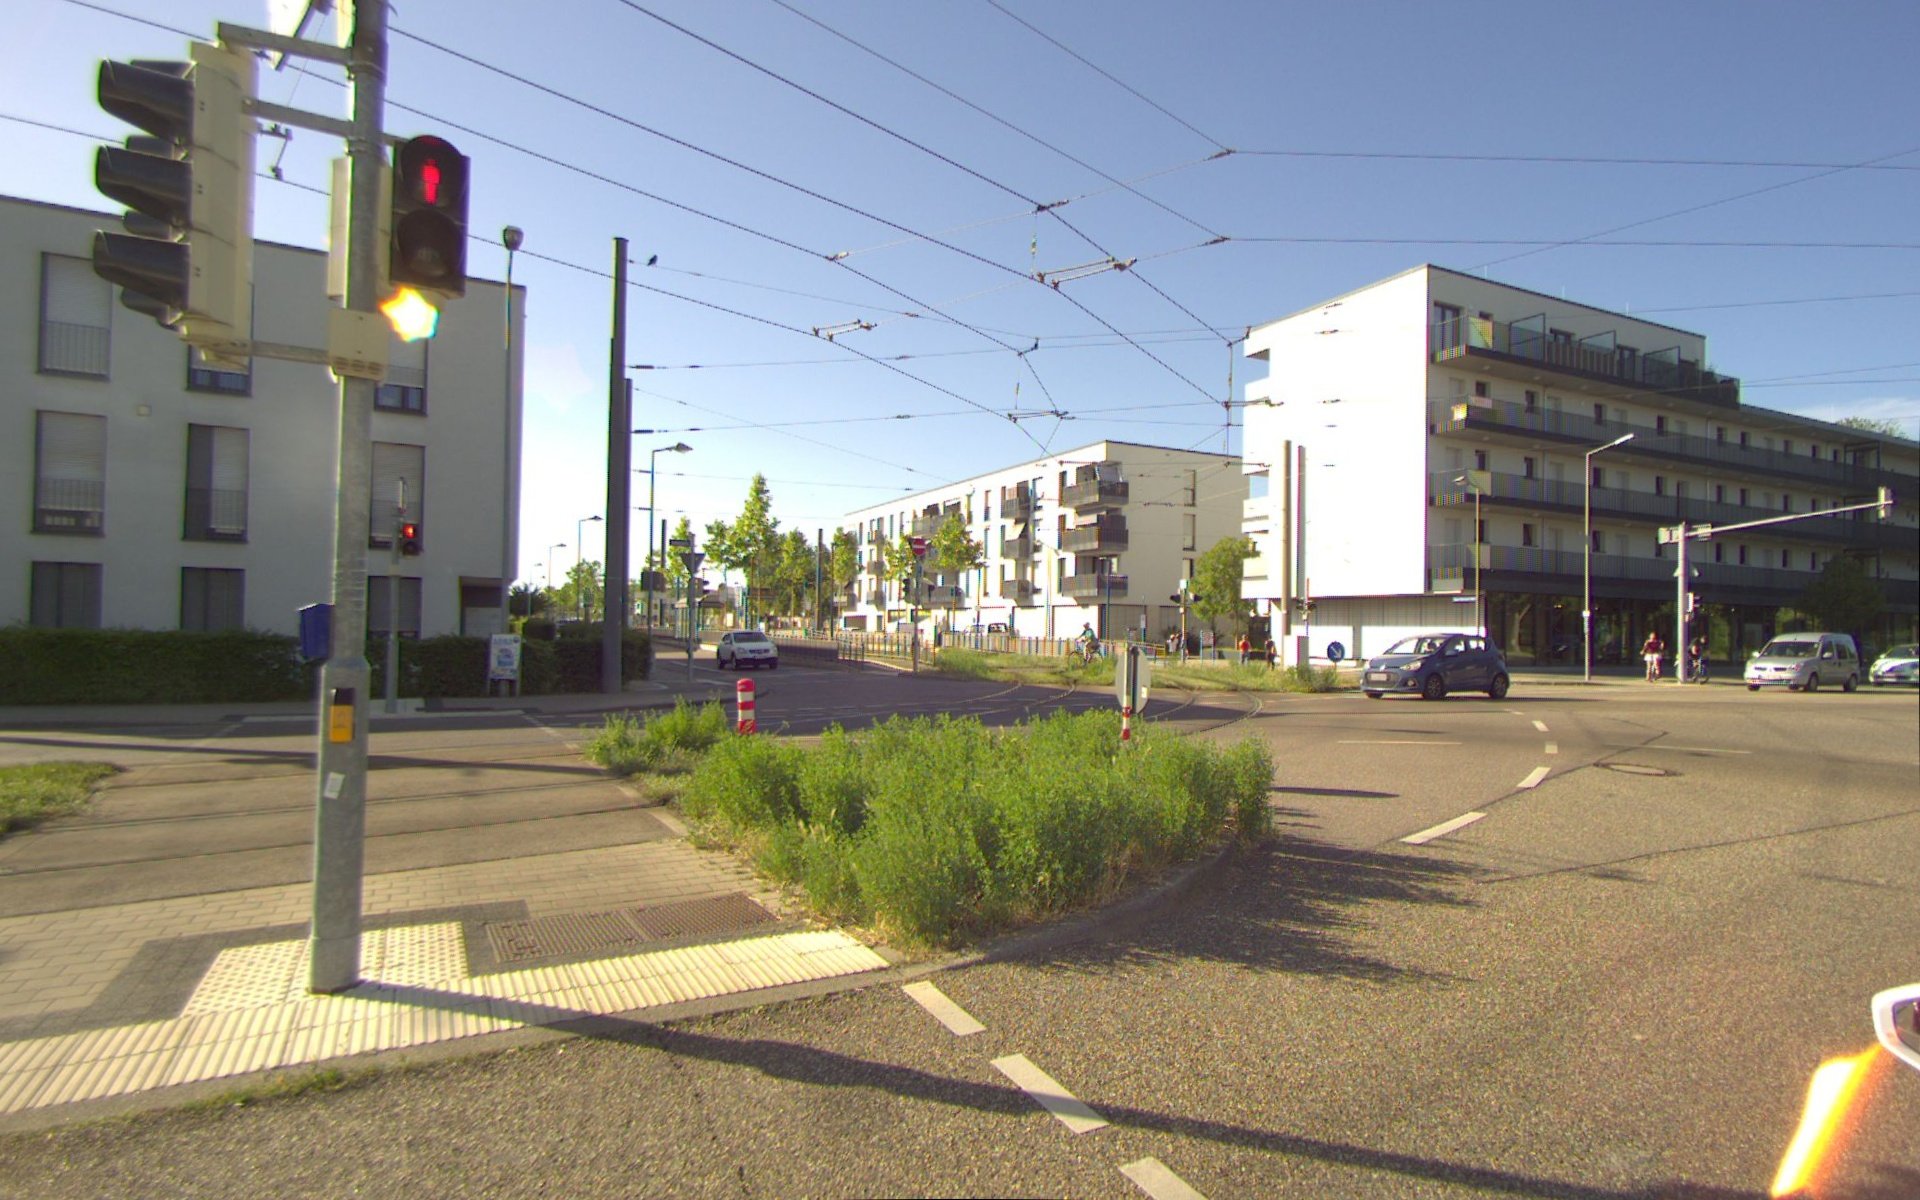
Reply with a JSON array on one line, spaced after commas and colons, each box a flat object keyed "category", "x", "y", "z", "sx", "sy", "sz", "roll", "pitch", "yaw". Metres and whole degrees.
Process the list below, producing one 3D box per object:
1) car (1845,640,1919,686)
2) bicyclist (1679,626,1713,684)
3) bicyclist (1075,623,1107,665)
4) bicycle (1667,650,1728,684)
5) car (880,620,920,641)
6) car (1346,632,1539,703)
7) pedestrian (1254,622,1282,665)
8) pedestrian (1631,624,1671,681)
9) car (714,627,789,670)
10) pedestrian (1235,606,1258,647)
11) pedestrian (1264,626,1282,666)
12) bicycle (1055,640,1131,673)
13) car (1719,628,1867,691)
[{"category": "car", "x": 33.066, "y": 2.187, "z": 35.005, "sx": 3.492, "sy": 1.506, "sz": 1.990, "roll": 1, "pitch": -4, "yaw": -22}, {"category": "bicyclist", "x": 26.524, "y": 1.980, "z": 36.181, "sx": 0.804, "sy": 2.040, "sz": 0.787, "roll": 2, "pitch": -2, "yaw": -36}, {"category": "bicyclist", "x": 5.016, "y": 1.682, "z": 38.517, "sx": 0.899, "sy": 1.613, "sz": 0.891, "roll": 1, "pitch": -2, "yaw": -20}, {"category": "bicycle", "x": 26.529, "y": 2.400, "z": 36.155, "sx": 0.738, "sy": 1.159, "sz": 1.626, "roll": 2, "pitch": -2, "yaw": -37}, {"category": "car", "x": -5.011, "y": 2.533, "z": 83.436, "sx": 1.973, "sy": 1.574, "sz": 3.974, "roll": 2, "pitch": 0, "yaw": -25}, {"category": "car", "x": 10.997, "y": 1.500, "z": 22.842, "sx": 4.396, "sy": 1.475, "sz": 1.689, "roll": 2, "pitch": -2, "yaw": -27}, {"category": "pedestrian", "x": 13.003, "y": 1.836, "z": 42.391, "sx": 0.933, "sy": 1.756, "sz": 0.647, "roll": 2, "pitch": 0, "yaw": 0}, {"category": "pedestrian", "x": 25.192, "y": 1.911, "z": 36.643, "sx": 0.752, "sy": 2.040, "sz": 0.972, "roll": 2, "pitch": -2, "yaw": -30}, {"category": "car", "x": -8.652, "y": 1.969, "z": 41.450, "sx": 1.984, "sy": 1.687, "sz": 3.971, "roll": 2, "pitch": -2, "yaw": -28}, {"category": "pedestrian", "x": 12.268, "y": 1.115, "z": 42.993, "sx": 0.741, "sy": 1.709, "sz": 0.572, "roll": 2, "pitch": 0, "yaw": 40}, {"category": "pedestrian", "x": 13.175, "y": 1.930, "z": 42.260, "sx": 0.498, "sy": 1.644, "sz": 0.454, "roll": 2, "pitch": 0, "yaw": -30}, {"category": "bicycle", "x": 5.115, "y": 2.173, "z": 38.555, "sx": 2.782, "sy": 1.214, "sz": 0.900, "roll": 1, "pitch": -2, "yaw": -20}, {"category": "car", "x": 25.304, "y": 1.784, "z": 30.504, "sx": 4.307, "sy": 1.778, "sz": 1.986, "roll": 2, "pitch": -2, "yaw": -28}]
